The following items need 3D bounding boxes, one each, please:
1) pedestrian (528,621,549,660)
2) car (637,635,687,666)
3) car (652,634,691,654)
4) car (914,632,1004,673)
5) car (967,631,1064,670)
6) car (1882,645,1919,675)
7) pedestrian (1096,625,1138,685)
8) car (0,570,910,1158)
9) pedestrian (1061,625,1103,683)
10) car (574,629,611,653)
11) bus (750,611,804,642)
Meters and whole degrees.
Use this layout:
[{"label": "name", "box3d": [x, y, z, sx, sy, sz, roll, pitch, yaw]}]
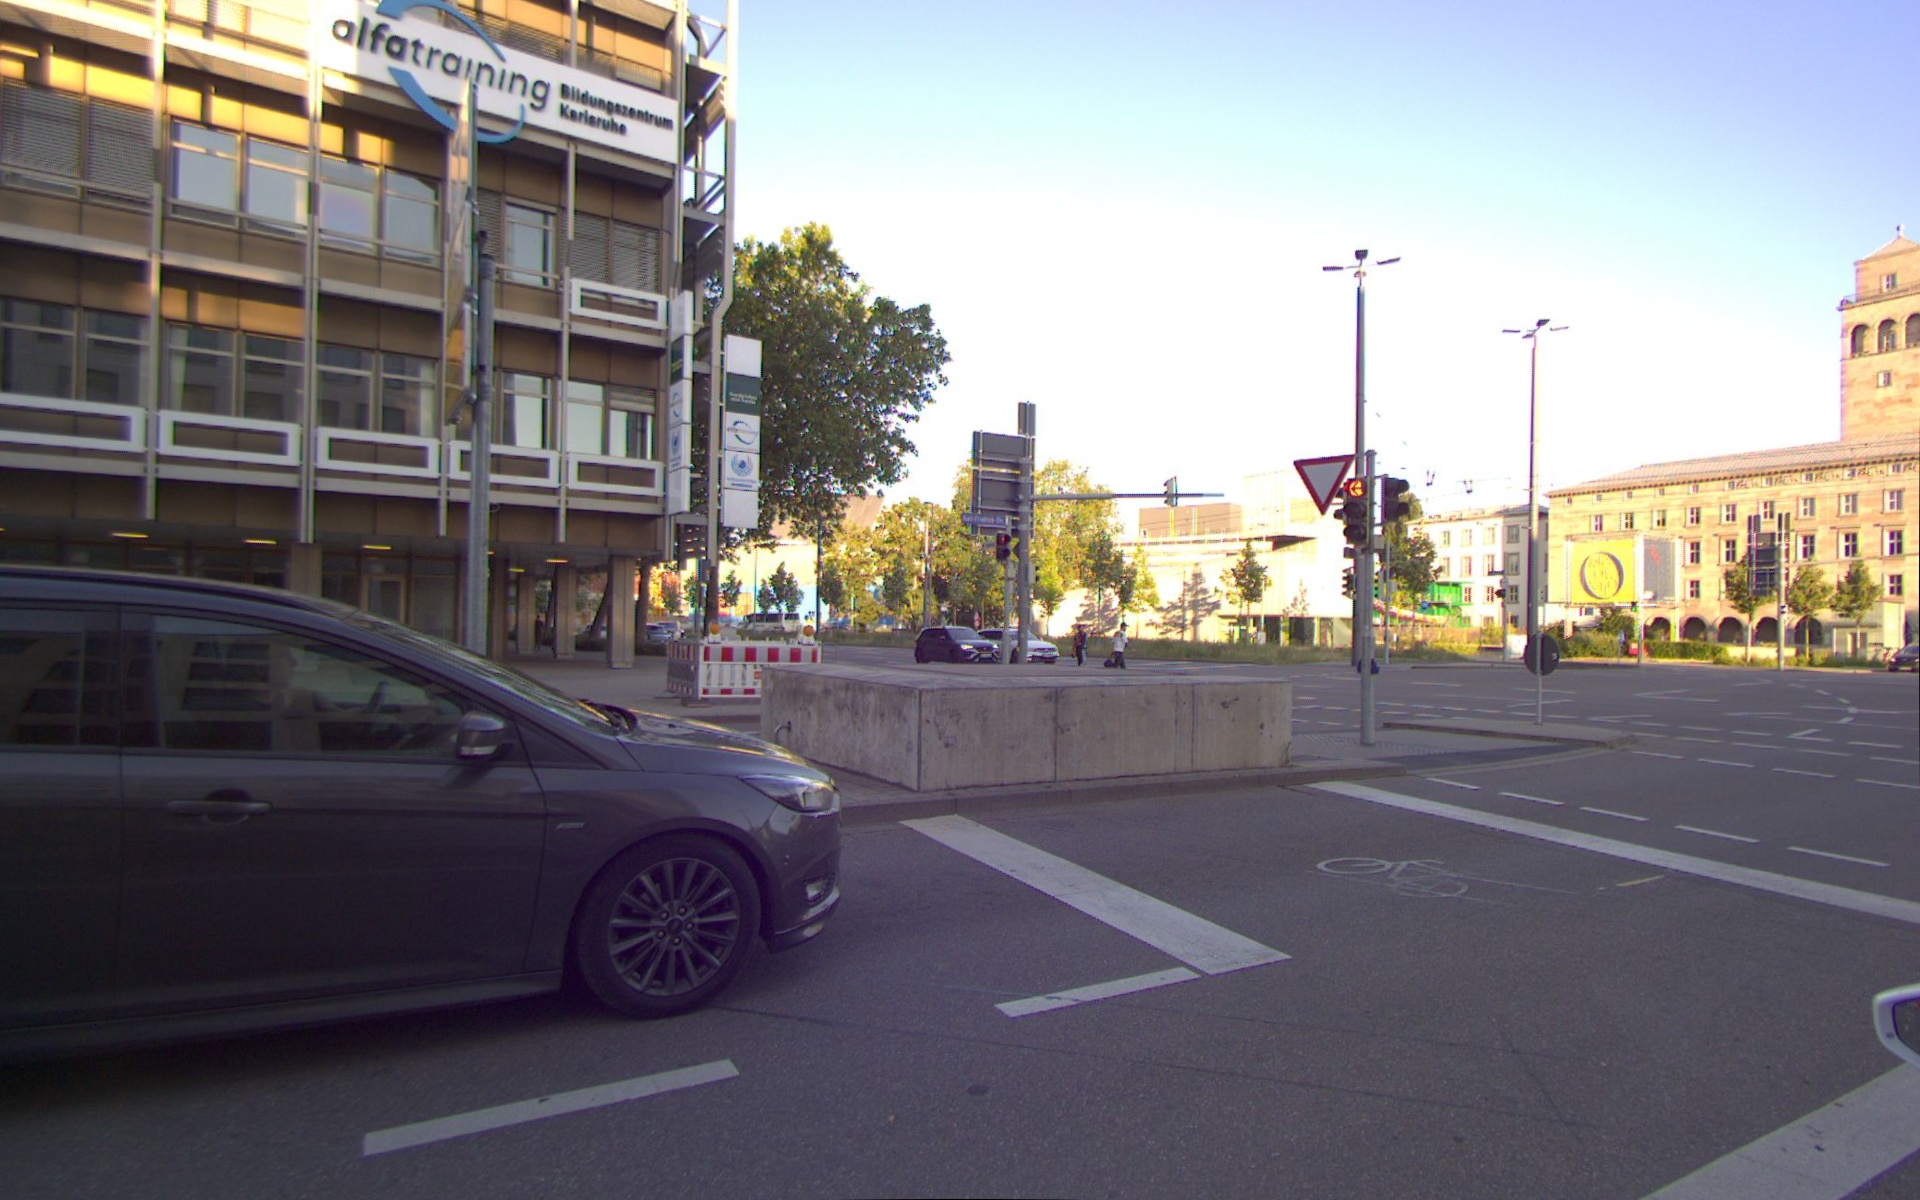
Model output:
[{"label": "pedestrian", "box3d": [-20.102, 1.934, 47.879, 0.749, 1.830, 0.715, 3, 0, -35]}, {"label": "car", "box3d": [-17.052, 2.852, 57.355, 1.722, 1.605, 4.554, 1, -1, -30]}, {"label": "car", "box3d": [-24.220, 3.689, 84.225, 1.833, 1.605, 4.546, 1, -1, -35]}, {"label": "car", "box3d": [-0.097, 2.008, 39.143, 1.830, 1.476, 3.921, 1, -1, -30]}, {"label": "car", "box3d": [2.237, 2.030, 41.515, 1.830, 1.476, 4.554, 1, -1, -30]}, {"label": "car", "box3d": [50.676, 3.171, 53.118, 4.111, 1.485, 1.813, 1, -1, -32]}, {"label": "pedestrian", "box3d": [4.680, 1.619, 29.915, 0.949, 1.743, 0.816, 2, -1, -34]}, {"label": "car", "box3d": [-2.498, 0.666, 3.494, 4.330, 1.482, 1.748, 2, 0, -31]}, {"label": "pedestrian", "box3d": [3.730, 1.630, 30.662, 0.949, 1.743, 0.816, 2, -1, -34]}, {"label": "car", "box3d": [-25.417, 2.830, 69.453, 1.722, 1.605, 3.764, 1, -1, -31]}, {"label": "bus", "box3d": [-23.765, 3.346, 129.648, 2.959, 3.818, 10.341, 2, -2, -34]}]
